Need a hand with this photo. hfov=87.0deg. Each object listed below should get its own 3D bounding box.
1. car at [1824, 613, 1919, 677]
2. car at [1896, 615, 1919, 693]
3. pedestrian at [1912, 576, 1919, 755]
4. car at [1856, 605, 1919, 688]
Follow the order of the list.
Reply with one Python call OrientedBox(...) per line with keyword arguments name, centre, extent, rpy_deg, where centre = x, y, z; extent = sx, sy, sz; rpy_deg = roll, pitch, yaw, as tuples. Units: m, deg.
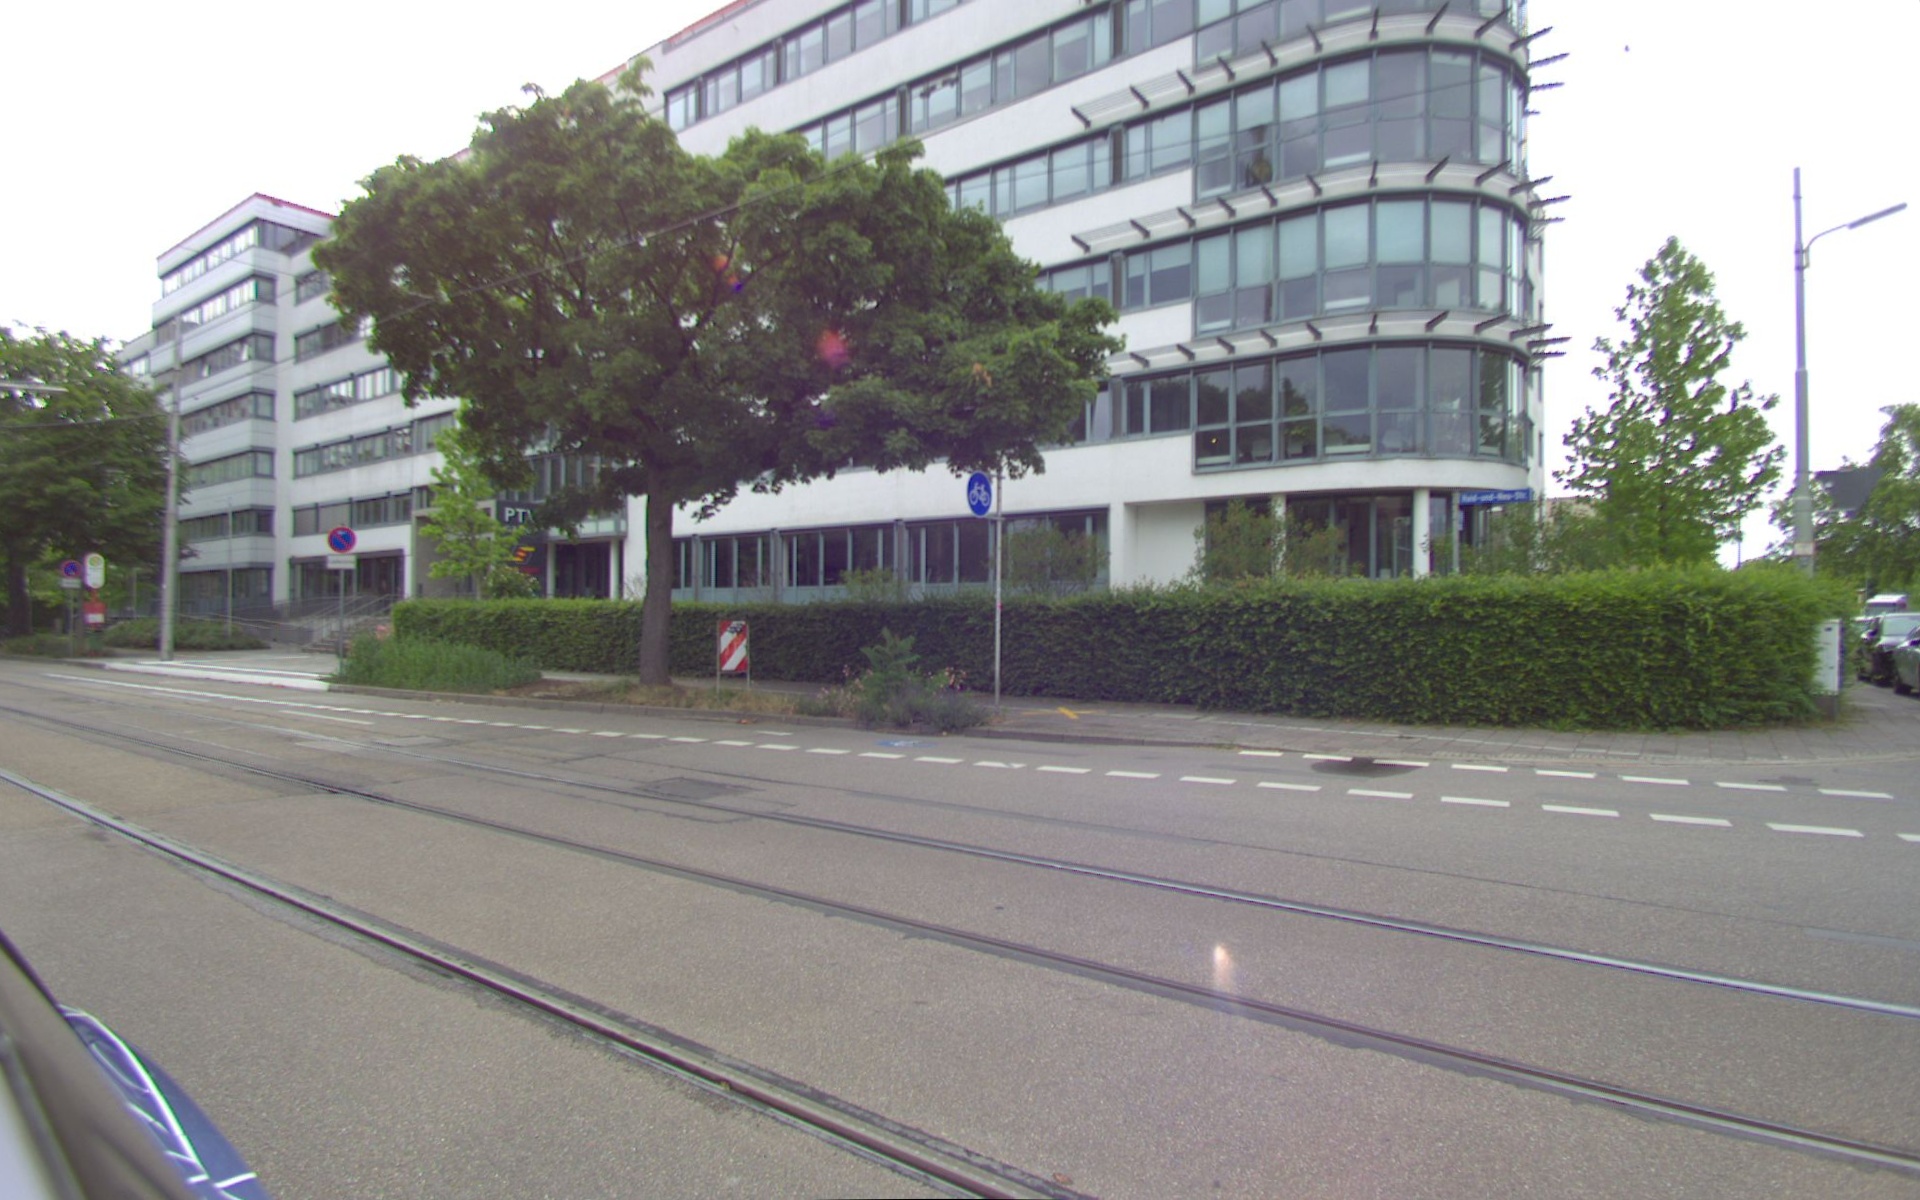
OrientedBox(name="car", centre=(26.588, 1.255, 29.503), extent=(1.886, 1.694, 3.789), rpy_deg=(-1, 0, 37))
OrientedBox(name="car", centre=(17.687, 0.949, 17.440), extent=(1.775, 1.359, 3.999), rpy_deg=(0, -1, 36))
OrientedBox(name="pedestrian", centre=(10.532, 0.670, 10.379), extent=(1.059, 1.839, 0.795), rpy_deg=(-1, 0, 41))
OrientedBox(name="car", centre=(20.838, 0.946, 21.617), extent=(1.995, 1.663, 3.954), rpy_deg=(-1, -1, 34))
